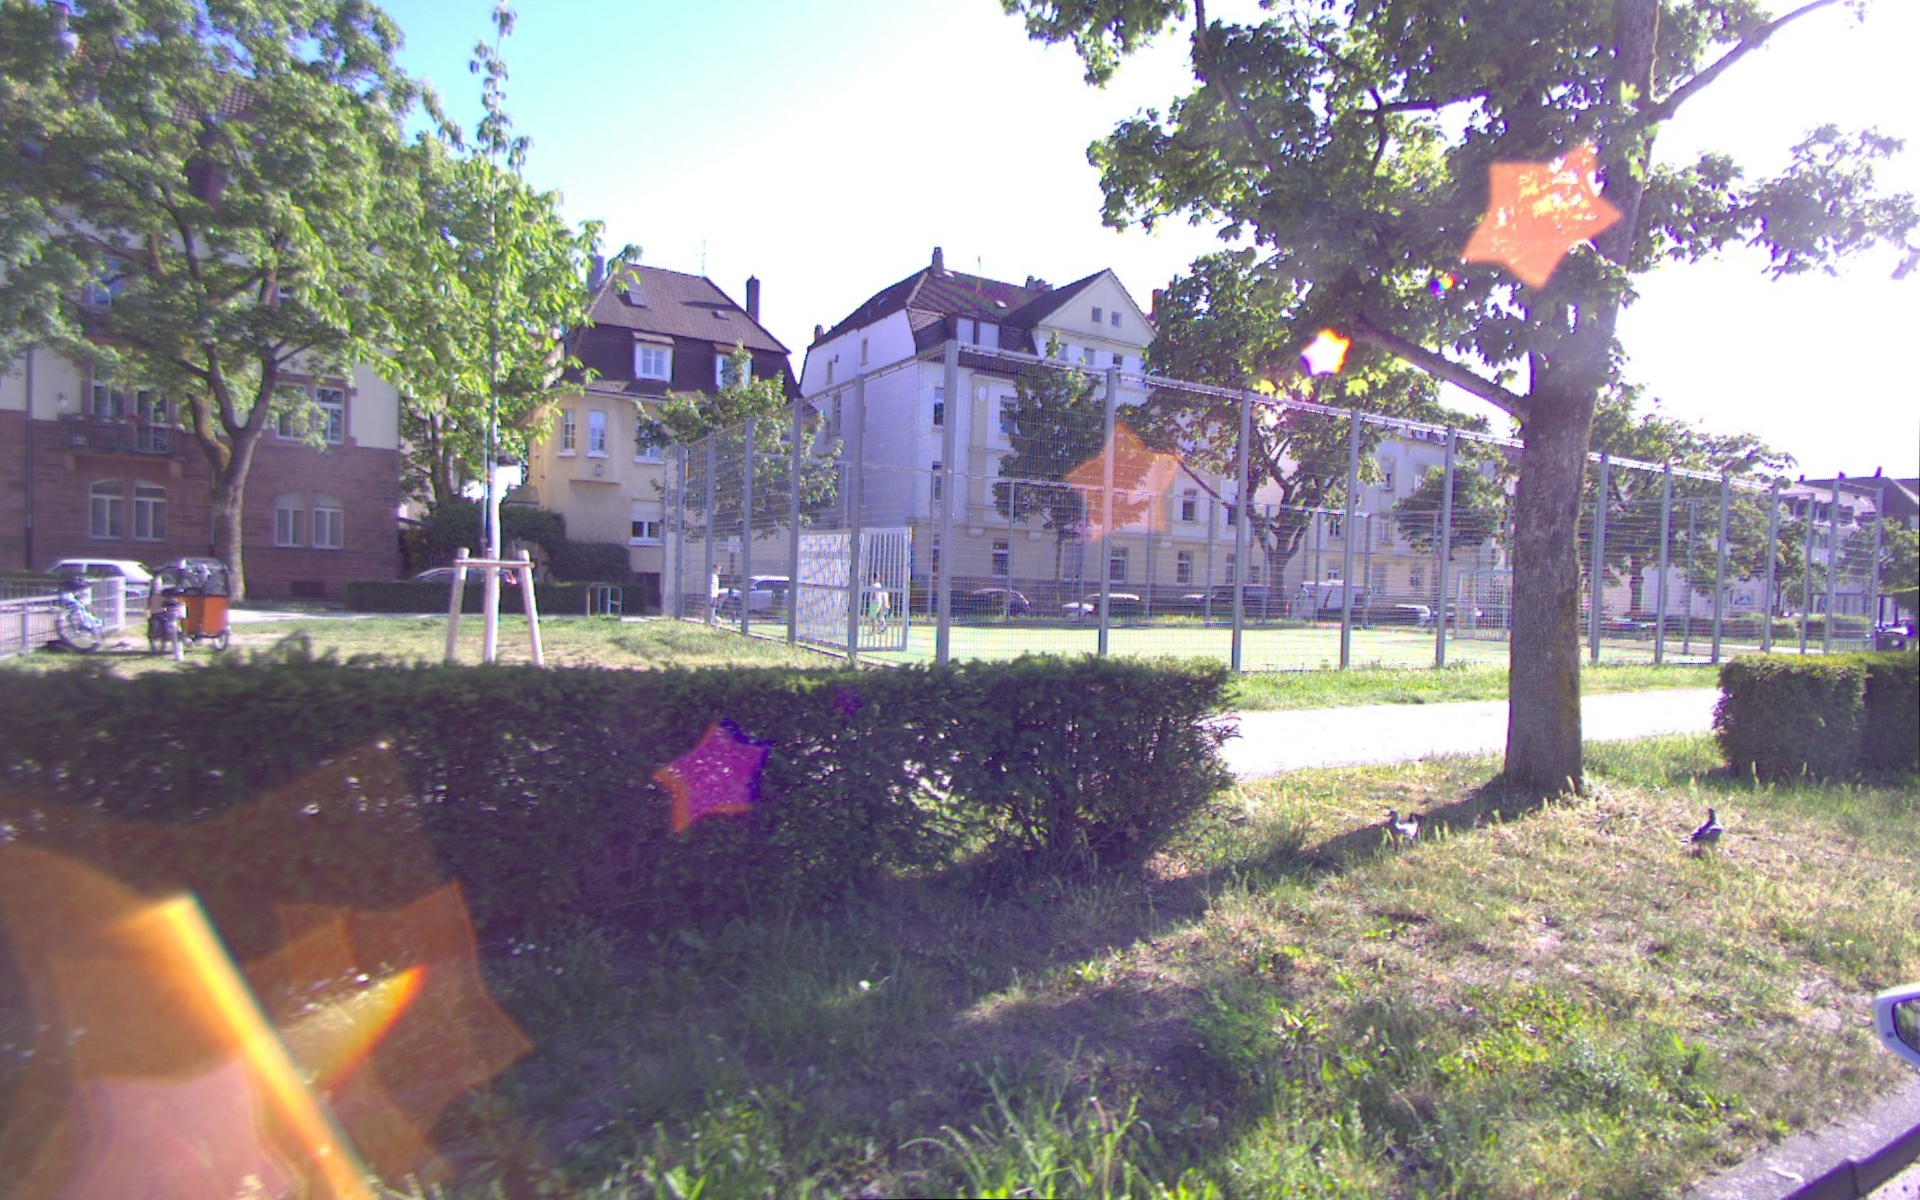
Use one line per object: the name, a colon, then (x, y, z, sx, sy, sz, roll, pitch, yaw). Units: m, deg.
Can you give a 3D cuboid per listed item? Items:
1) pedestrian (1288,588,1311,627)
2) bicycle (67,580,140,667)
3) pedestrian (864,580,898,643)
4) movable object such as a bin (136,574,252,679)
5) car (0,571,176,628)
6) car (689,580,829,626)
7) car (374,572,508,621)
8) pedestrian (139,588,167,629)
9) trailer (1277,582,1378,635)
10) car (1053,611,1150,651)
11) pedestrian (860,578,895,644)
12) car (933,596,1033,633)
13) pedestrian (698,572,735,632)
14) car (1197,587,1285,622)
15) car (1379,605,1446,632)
pedestrian: (14.849, 0.327, 43.911, 0.642, 1.683, 0.645, 1, 0, -30)
bicycle: (-12.040, 0.295, 14.161, 0.494, 1.122, 1.784, 1, 2, -31)
pedestrian: (-1.711, 0.236, 21.836, 0.637, 1.336, 0.650, 2, 1, -1)
movable object such as a bin: (-10.031, 0.306, 13.249, 1.045, 1.258, 2.316, 1, 1, -33)
car: (-25.778, -0.003, 29.626, 3.953, 1.530, 1.785, 1, 2, -30)
car: (-7.964, 0.129, 39.889, 5.121, 1.674, 1.872, 1, 2, -30)
car: (-17.738, -0.118, 34.397, 3.953, 1.530, 1.785, 1, 2, -30)
pedestrian: (-16.842, 0.174, 20.973, 0.354, 0.815, 0.481, 1, 2, -28)
trailer: (21.257, 0.495, 58.002, 5.736, 2.909, 2.331, 1, 2, -31)
car: (6.850, 1.484, 48.522, 4.436, 1.801, 1.785, 1, 2, -30)
pedestrian: (-1.715, 0.225, 21.008, 0.637, 1.336, 0.650, 2, 1, -1)
car: (1.043, 0.666, 45.148, 4.182, 1.530, 1.785, 1, 1, -30)
pedestrian: (-5.521, 0.038, 22.807, 0.637, 1.336, 0.650, 2, 1, -1)
car: (13.385, 0.233, 47.802, 3.953, 1.530, 1.785, 1, 2, -30)
car: (28.047, 1.138, 62.192, 3.953, 1.530, 1.786, 1, 2, -30)
